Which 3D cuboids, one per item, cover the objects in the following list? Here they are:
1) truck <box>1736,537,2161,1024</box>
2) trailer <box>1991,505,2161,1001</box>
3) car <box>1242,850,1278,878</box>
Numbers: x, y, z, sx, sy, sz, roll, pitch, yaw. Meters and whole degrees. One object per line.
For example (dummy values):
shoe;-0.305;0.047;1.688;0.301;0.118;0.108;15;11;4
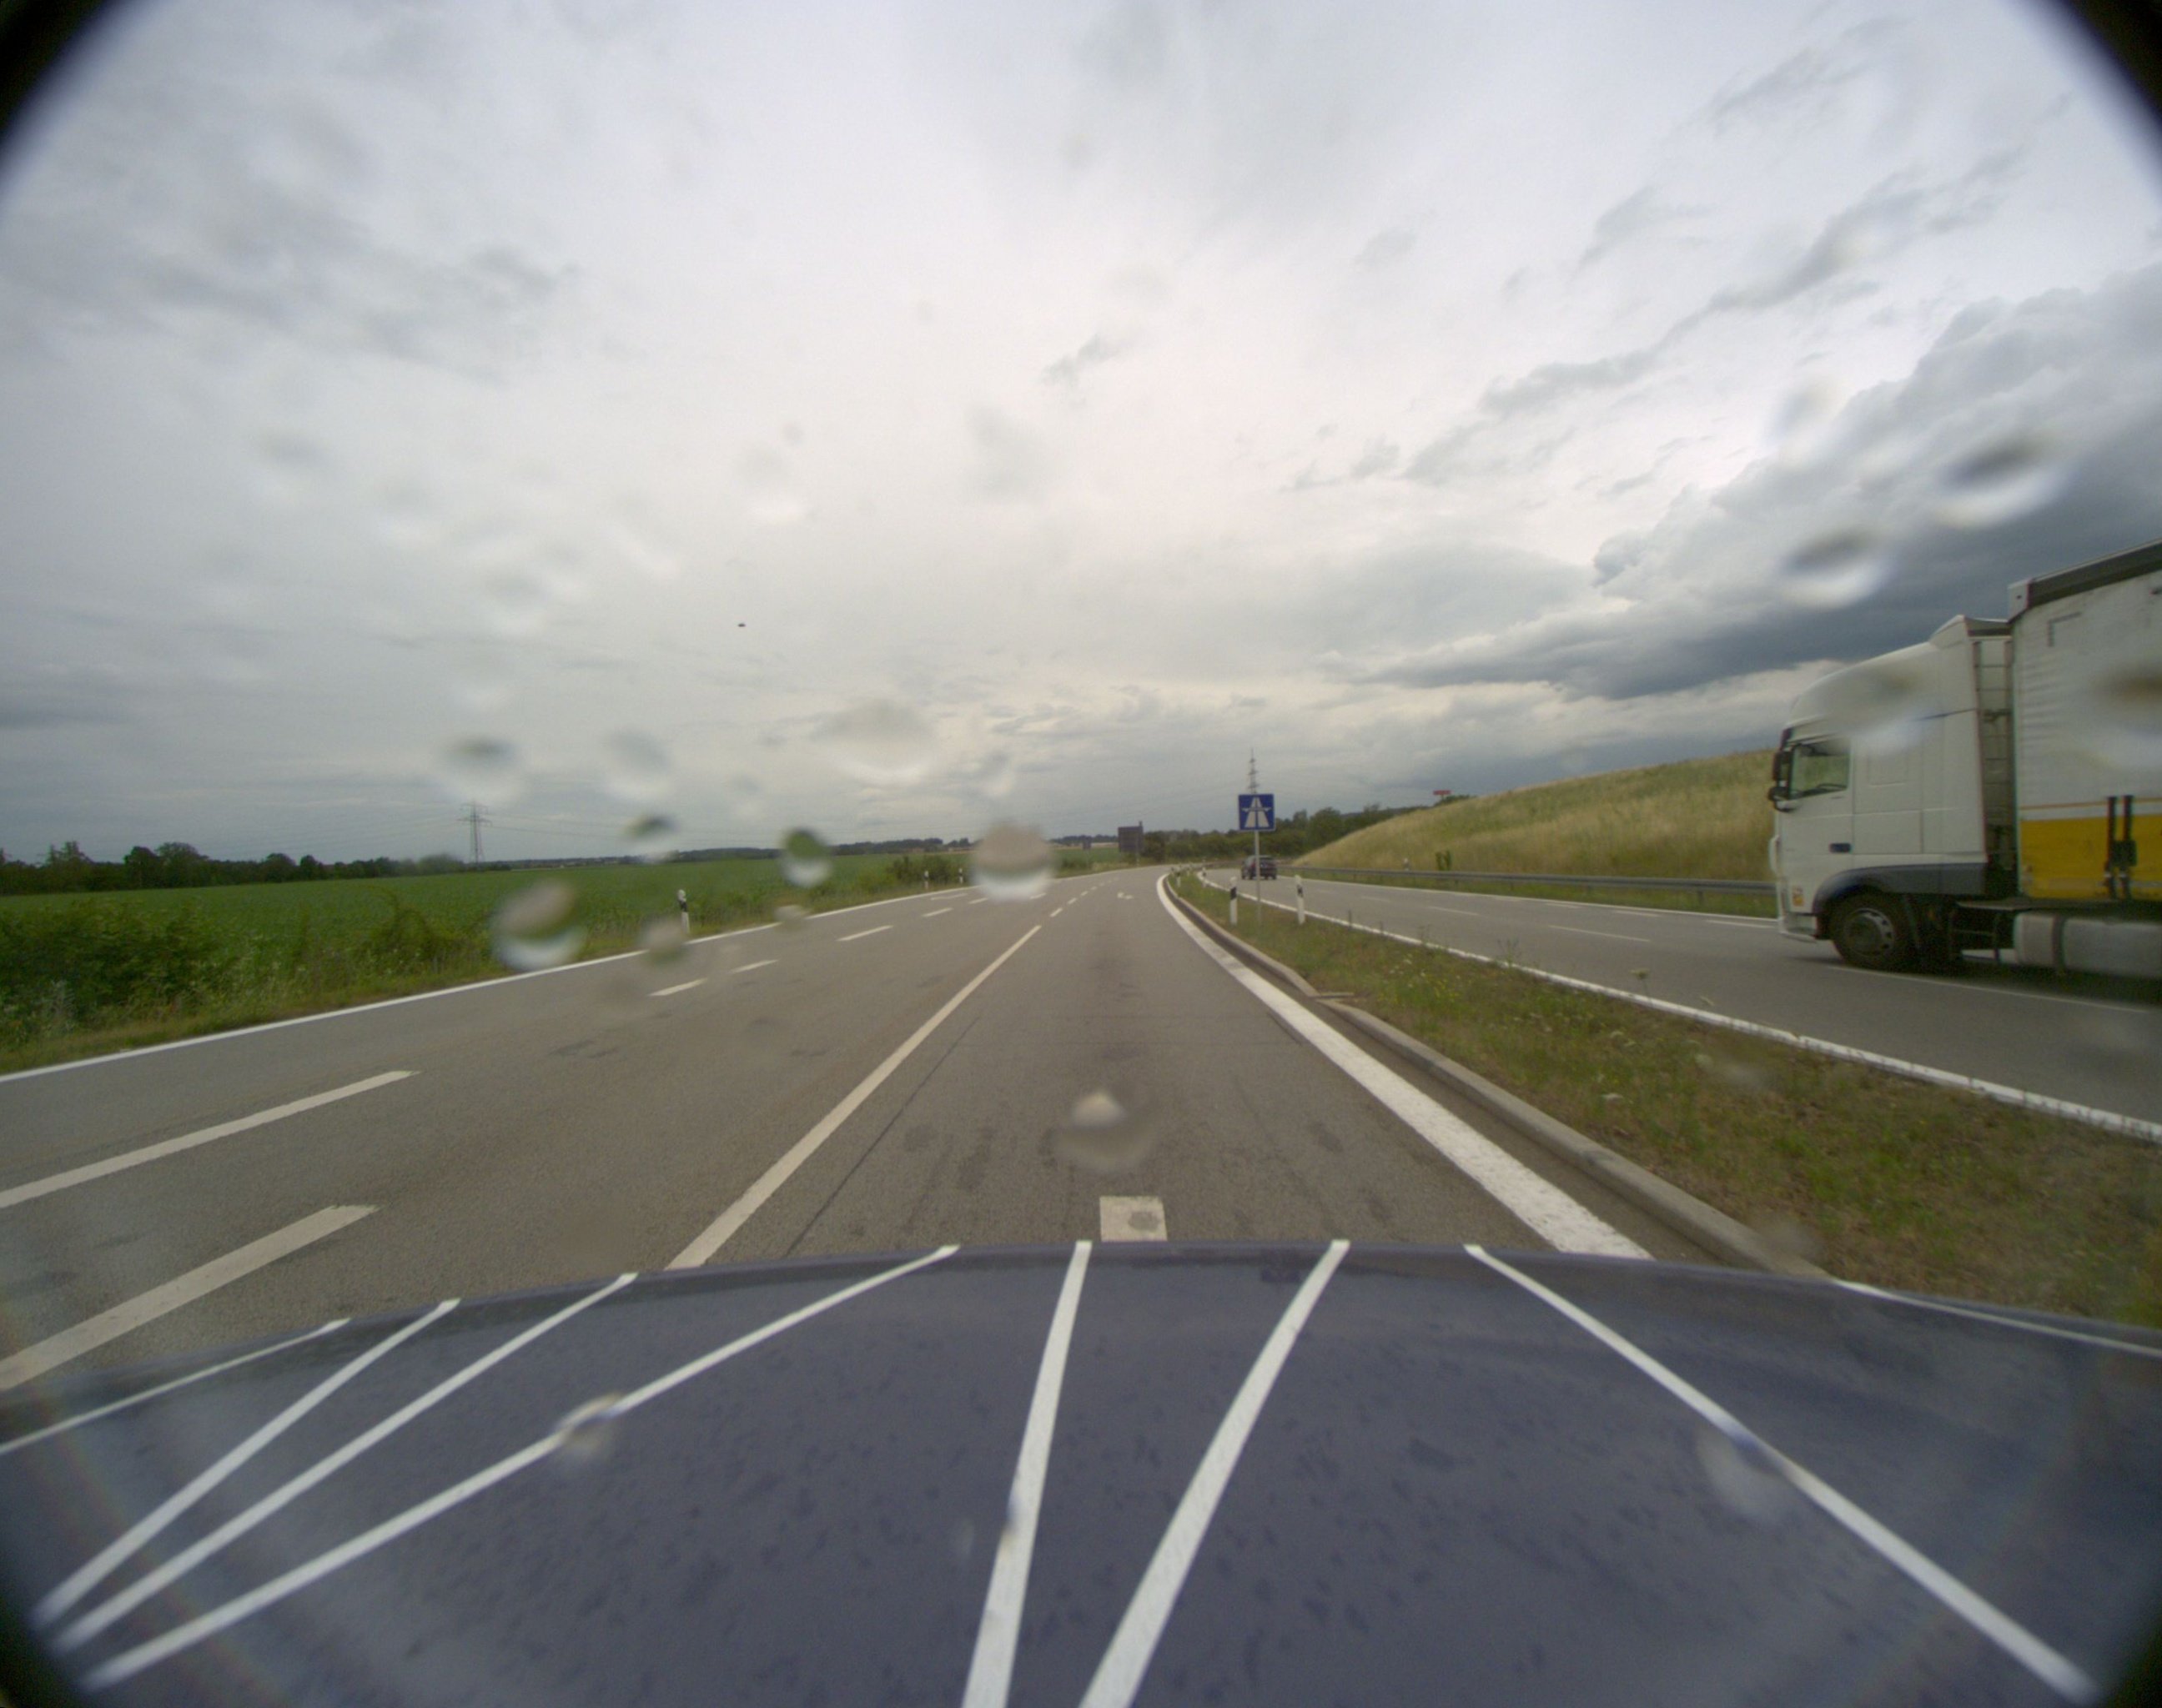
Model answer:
truck;10.538;-0.672;7.540;2.656;4.117;6.403;-2;1;2
trailer;10.238;-0.811;0.694;2.698;4.186;13.841;-2;1;3
car;12.016;0.656;51.162;1.997;1.674;4.116;-2;1;9
